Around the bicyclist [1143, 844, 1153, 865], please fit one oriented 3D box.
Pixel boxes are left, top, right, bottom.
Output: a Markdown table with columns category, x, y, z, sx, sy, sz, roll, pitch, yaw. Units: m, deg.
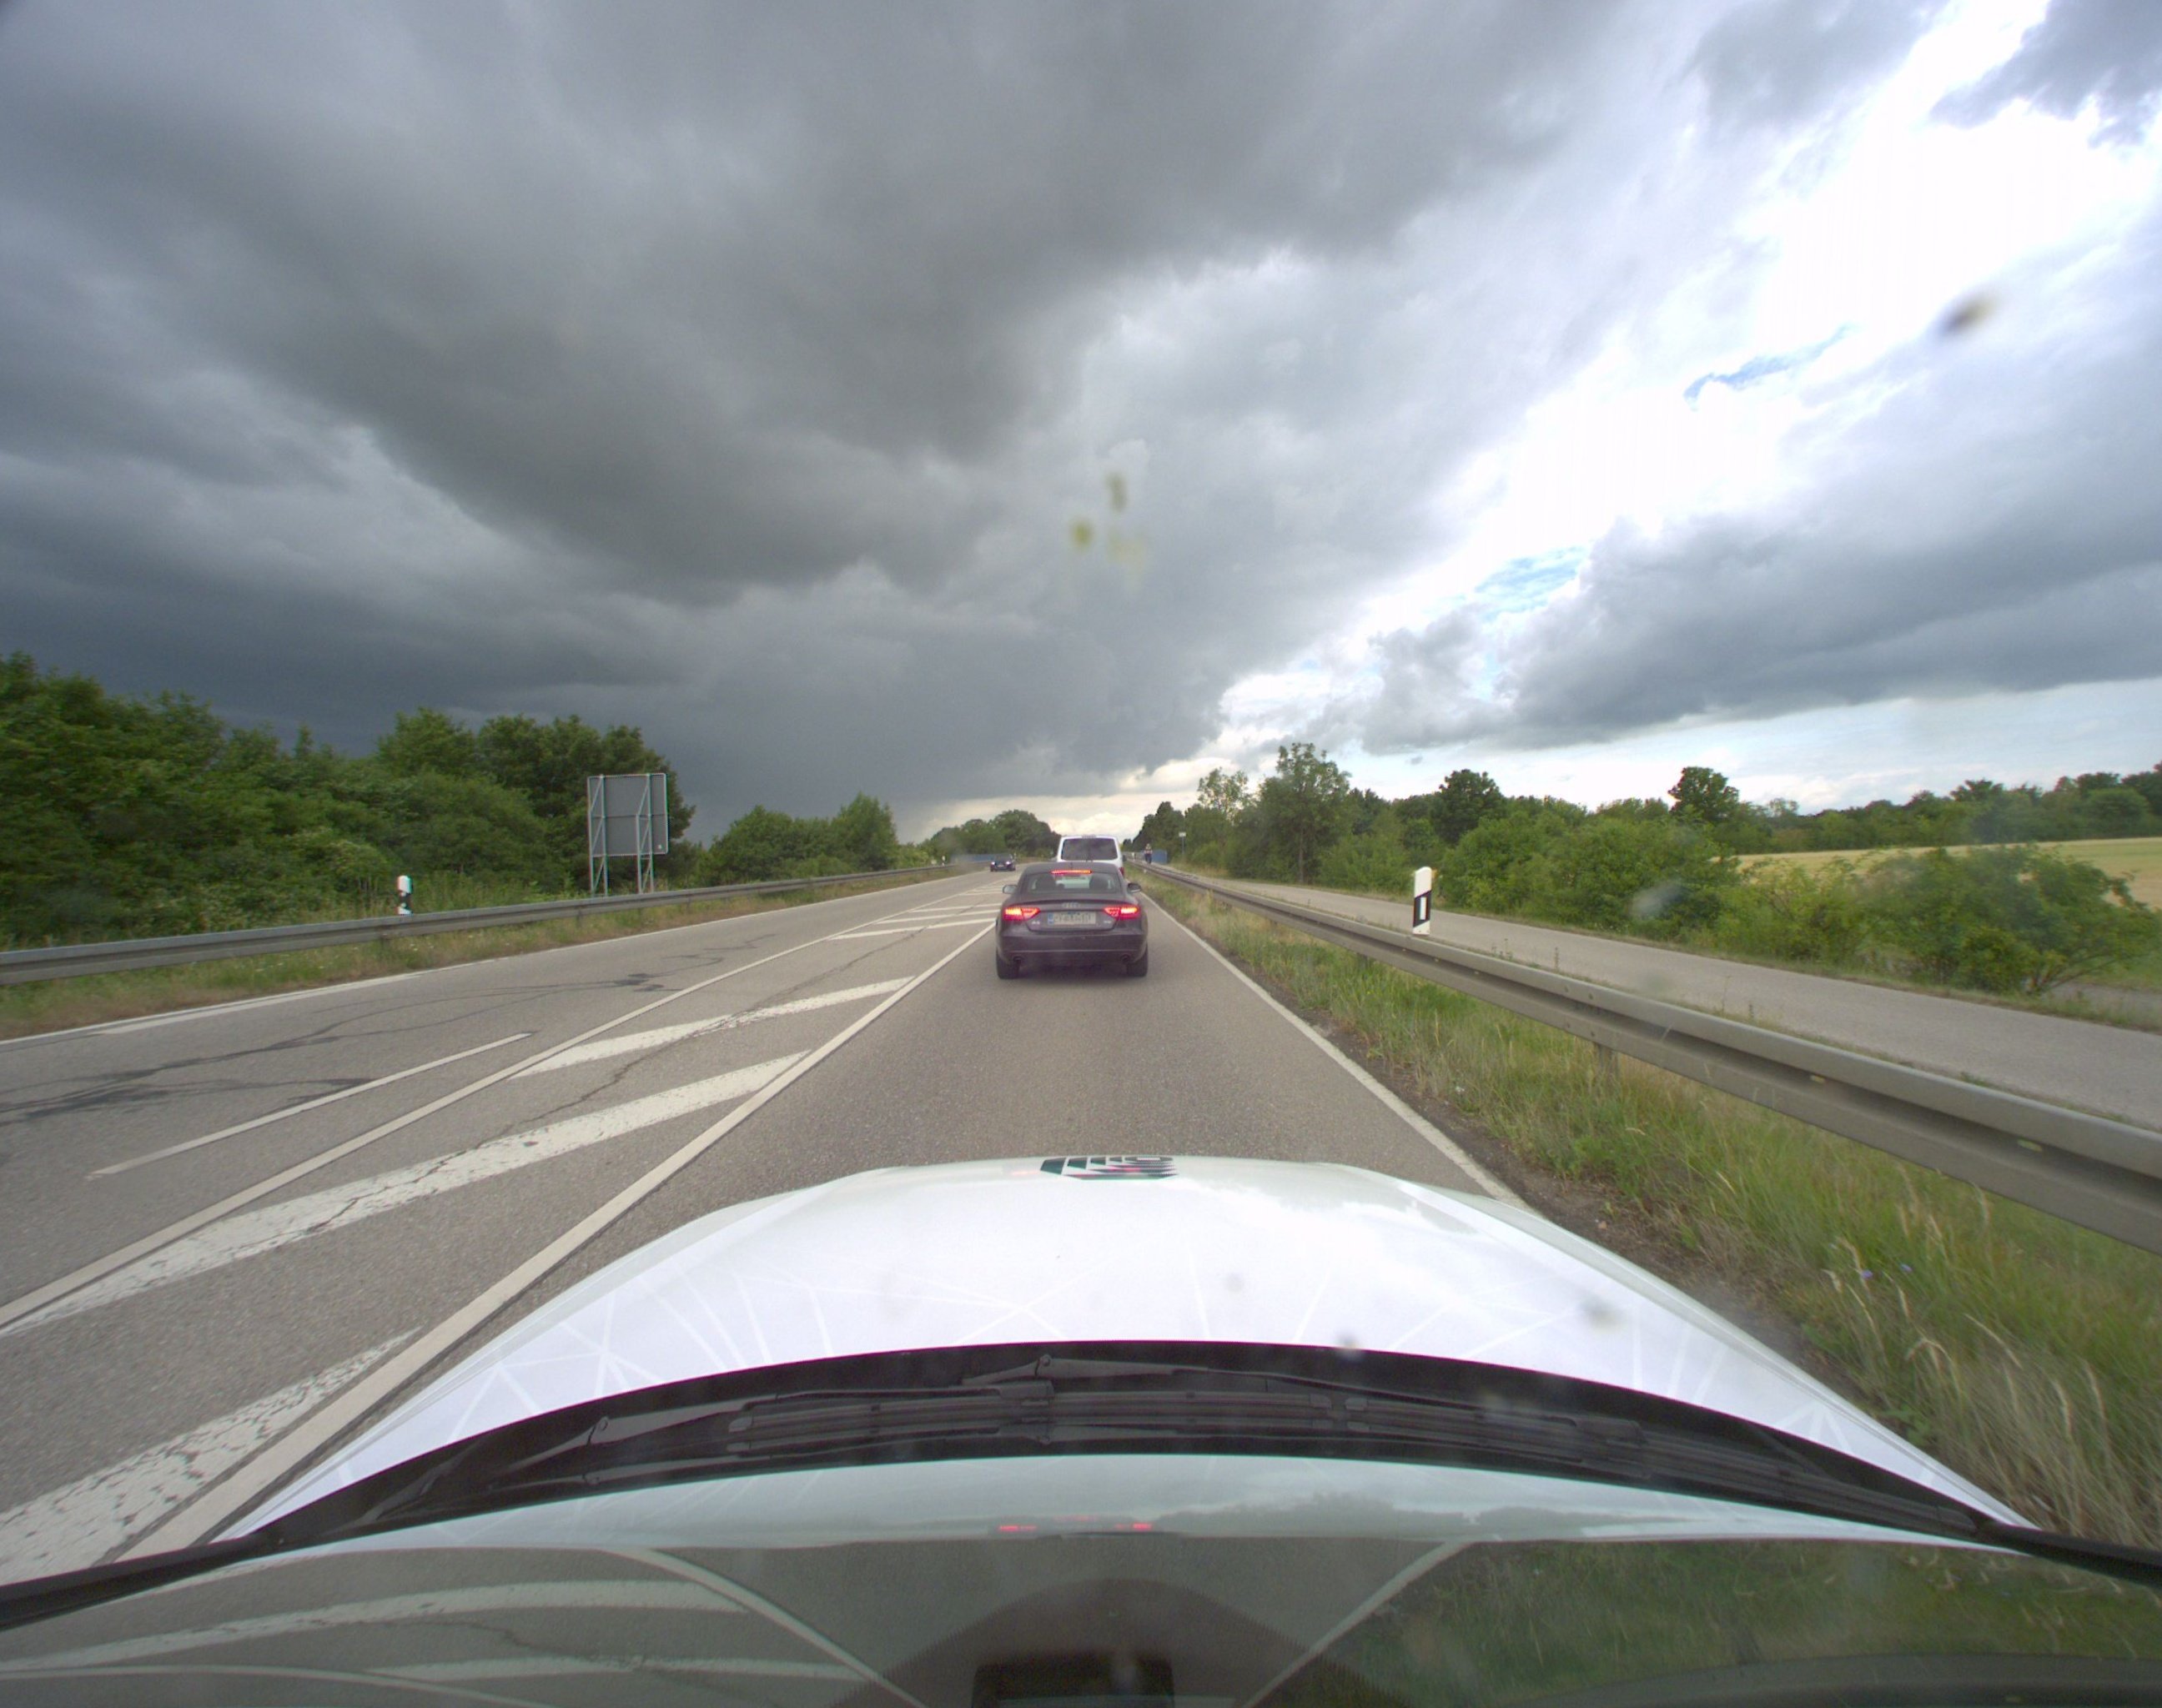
| category | x | y | z | sx | sy | sz | roll | pitch | yaw |
| --- | --- | --- | --- | --- | --- | --- | --- | --- | --- |
| bicyclist | 5.452 | 0.019 | 66.191 | 0.645 | 1.645 | 0.866 | -2 | 0 | 0 |

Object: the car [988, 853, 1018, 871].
| category | x | y | z | sx | sy | sz | roll | pitch | yaw |
| --- | --- | --- | --- | --- | --- | --- | --- | --- | --- |
| car | -6.206 | 0.611 | 65.020 | 1.856 | 1.376 | 4.001 | -1 | 0 | 1 |

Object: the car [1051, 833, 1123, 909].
| category | x | y | z | sx | sy | sz | roll | pitch | yaw |
| --- | --- | --- | --- | --- | --- | --- | --- | --- | --- |
| car | 0.185 | 0.447 | 22.401 | 1.779 | 1.890 | 4.000 | 0 | 0 | 1 |

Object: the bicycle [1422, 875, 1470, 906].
| category | x | y | z | sx | sy | sz | roll | pitch | yaw |
| --- | --- | --- | --- | --- | --- | --- | --- | --- | --- |
| bicycle | 14.608 | 1.430 | 32.667 | 0.654 | 1.138 | 2.830 | 0 | -1 | 0 |

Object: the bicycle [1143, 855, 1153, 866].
| category | x | y | z | sx | sy | sz | roll | pitch | yaw |
| --- | --- | --- | --- | --- | --- | --- | --- | --- | --- |
| bicycle | 5.465 | 0.522 | 66.184 | 0.663 | 0.920 | 1.830 | -2 | 0 | 1 |

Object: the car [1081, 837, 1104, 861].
| category | x | y | z | sx | sy | sz | roll | pitch | yaw |
| --- | --- | --- | --- | --- | --- | --- | --- | --- | --- |
| car | 1.324 | -0.532 | 89.446 | 2.438 | 2.504 | 5.042 | 0 | 0 | 1 |

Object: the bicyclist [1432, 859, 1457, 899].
| category | x | y | z | sx | sy | sz | roll | pitch | yaw |
| --- | --- | --- | --- | --- | --- | --- | --- | --- | --- |
| bicyclist | 14.603 | 0.981 | 32.702 | 0.654 | 1.581 | 0.744 | 0 | -1 | 0 |

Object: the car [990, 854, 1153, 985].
| category | x | y | z | sx | sy | sz | roll | pitch | yaw |
| --- | --- | --- | --- | --- | --- | --- | --- | --- | --- |
| car | -0.073 | 0.733 | 10.943 | 1.779 | 1.424 | 4.000 | 0 | 0 | 1 |
